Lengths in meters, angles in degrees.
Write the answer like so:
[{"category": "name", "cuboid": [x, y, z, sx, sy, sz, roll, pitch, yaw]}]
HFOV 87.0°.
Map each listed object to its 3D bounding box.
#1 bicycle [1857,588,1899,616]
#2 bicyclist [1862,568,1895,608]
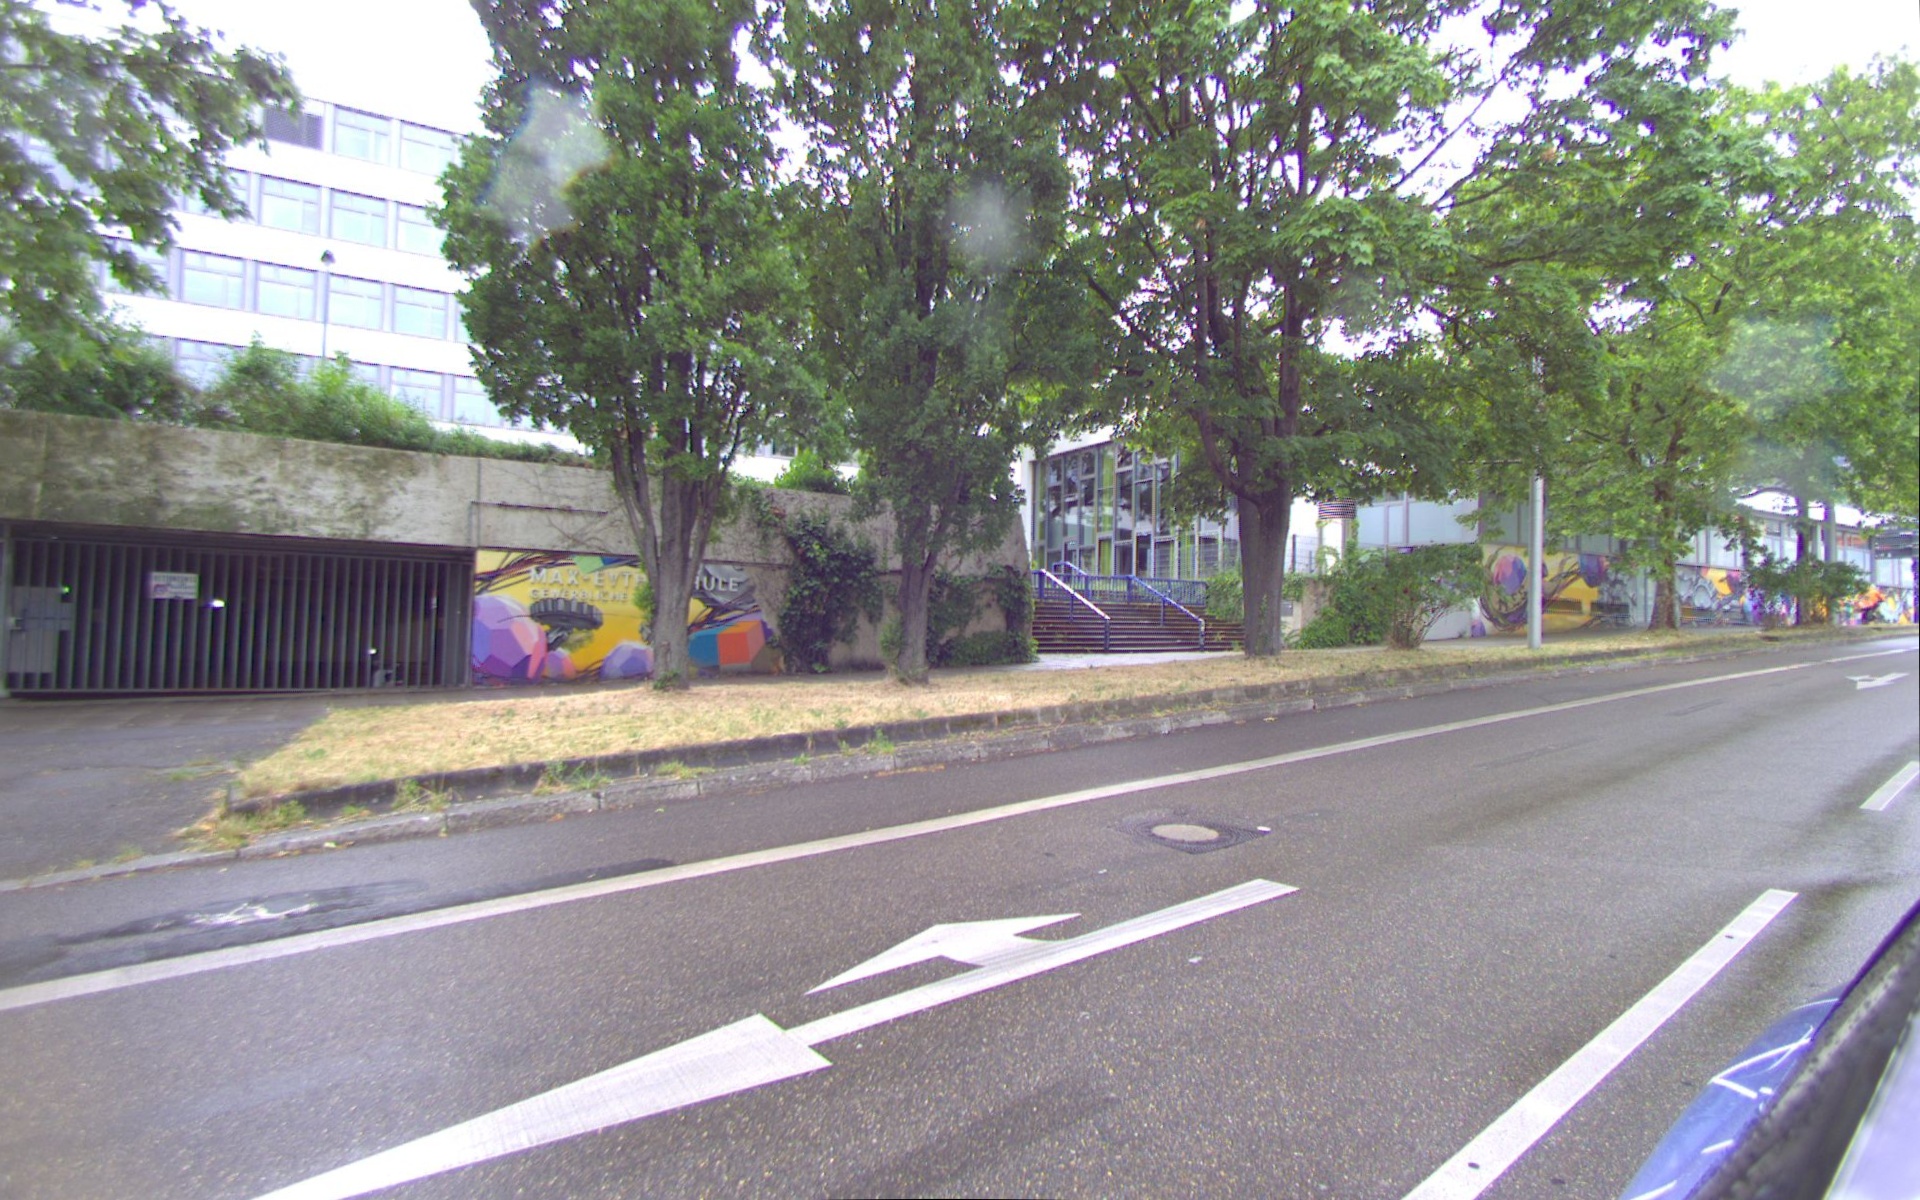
[{"category": "bicycle", "cuboid": [38.714, 0.081, 42.675, 2.156, 1.126, 0.809, 0, 0, -34]}, {"category": "bicyclist", "cuboid": [38.783, -0.514, 42.726, 1.026, 1.648, 0.809, 0, 0, -33]}]
